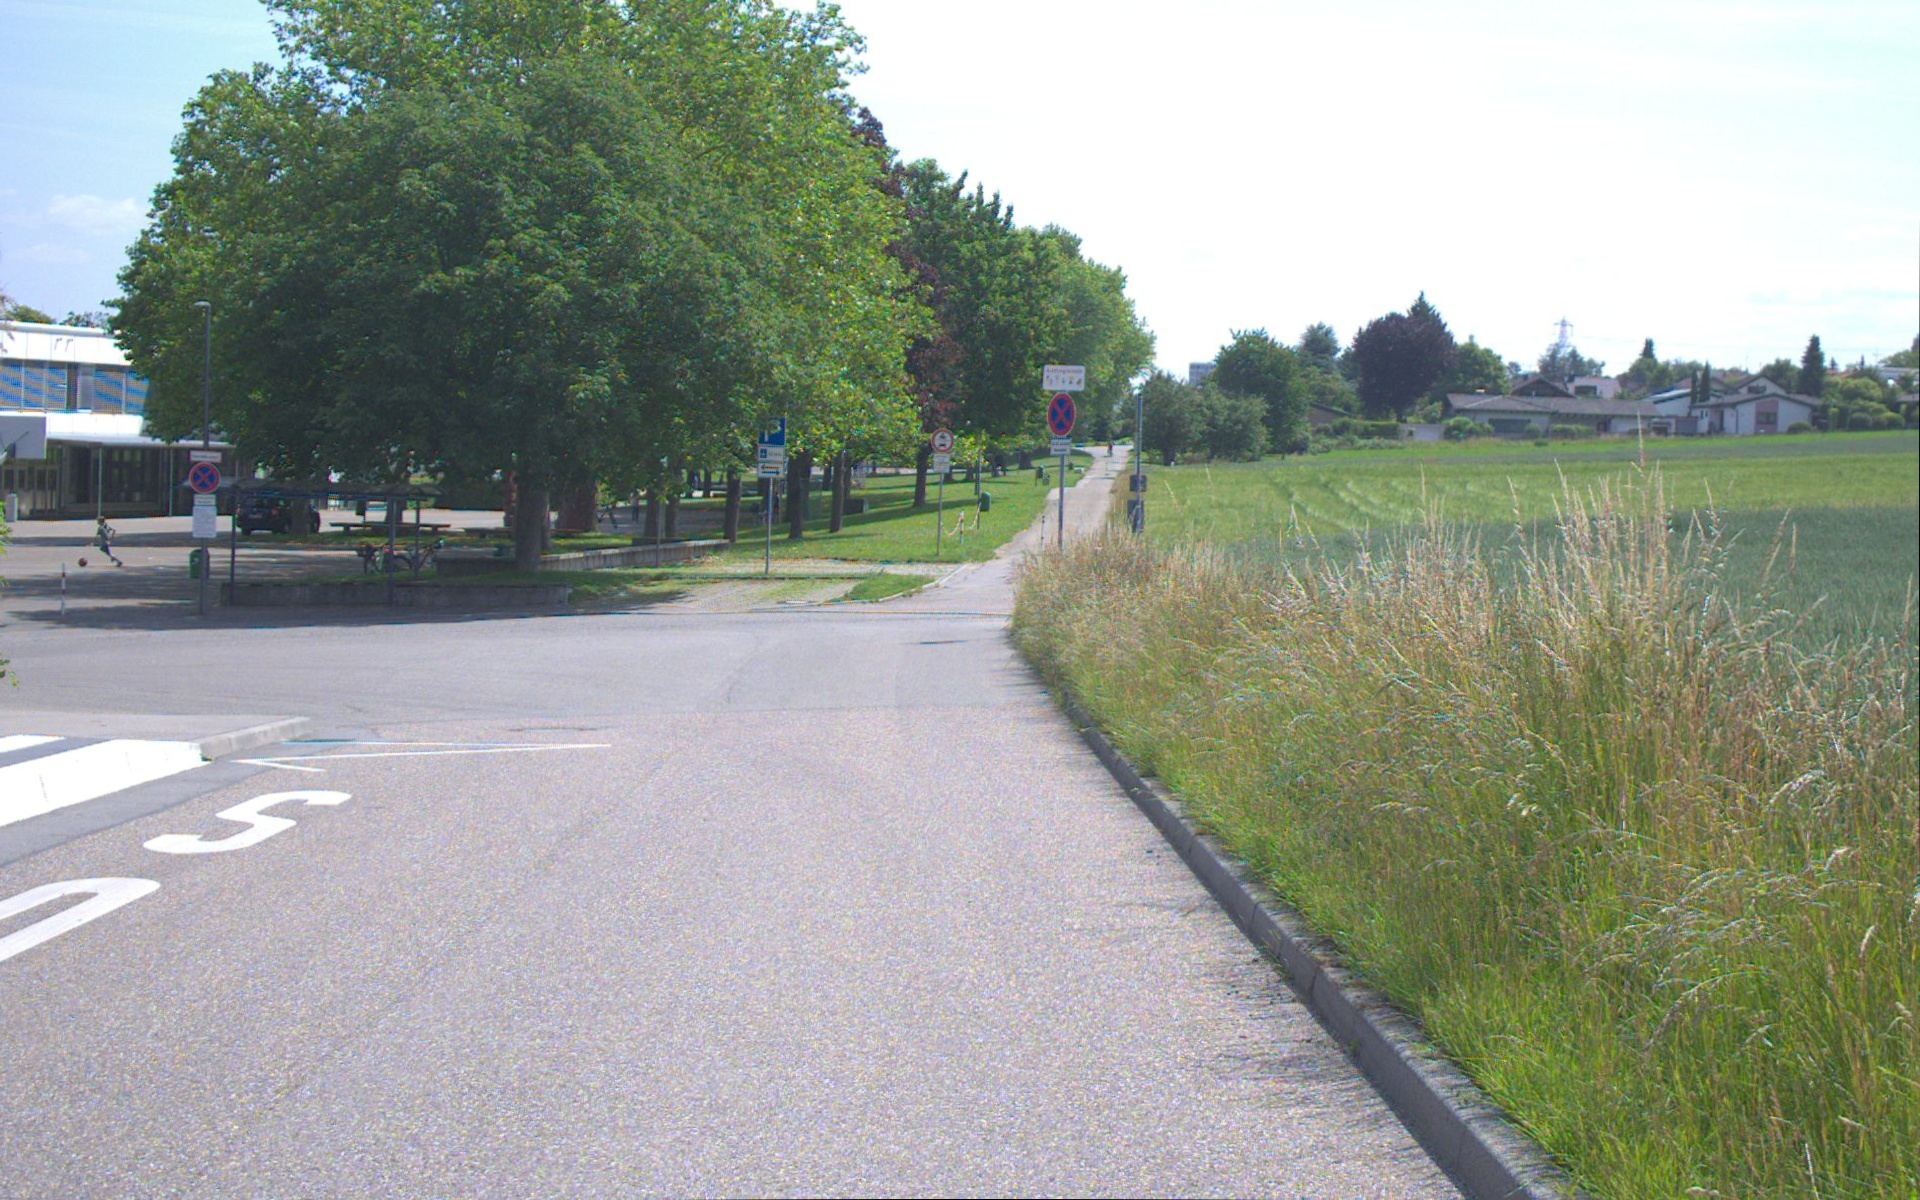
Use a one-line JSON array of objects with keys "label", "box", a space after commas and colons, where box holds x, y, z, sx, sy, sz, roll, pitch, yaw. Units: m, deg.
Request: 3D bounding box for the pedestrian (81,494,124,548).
[{"label": "pedestrian", "box": [-22.758, -2.103, 91.304, 1.066, 1.418, 0.920, 0, 2, -12]}]

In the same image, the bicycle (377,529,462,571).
[{"label": "bicycle", "box": [-13.567, -1.259, 86.336, 2.062, 1.035, 0.572, -1, 2, -5]}]

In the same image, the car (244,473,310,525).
[{"label": "car", "box": [-24.503, -3.628, 123.470, 1.691, 1.828, 3.411, 0, 2, 0]}]

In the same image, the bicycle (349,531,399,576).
[{"label": "bicycle", "box": [-14.388, -1.148, 84.476, 0.595, 1.035, 1.892, 0, 2, 10]}]
